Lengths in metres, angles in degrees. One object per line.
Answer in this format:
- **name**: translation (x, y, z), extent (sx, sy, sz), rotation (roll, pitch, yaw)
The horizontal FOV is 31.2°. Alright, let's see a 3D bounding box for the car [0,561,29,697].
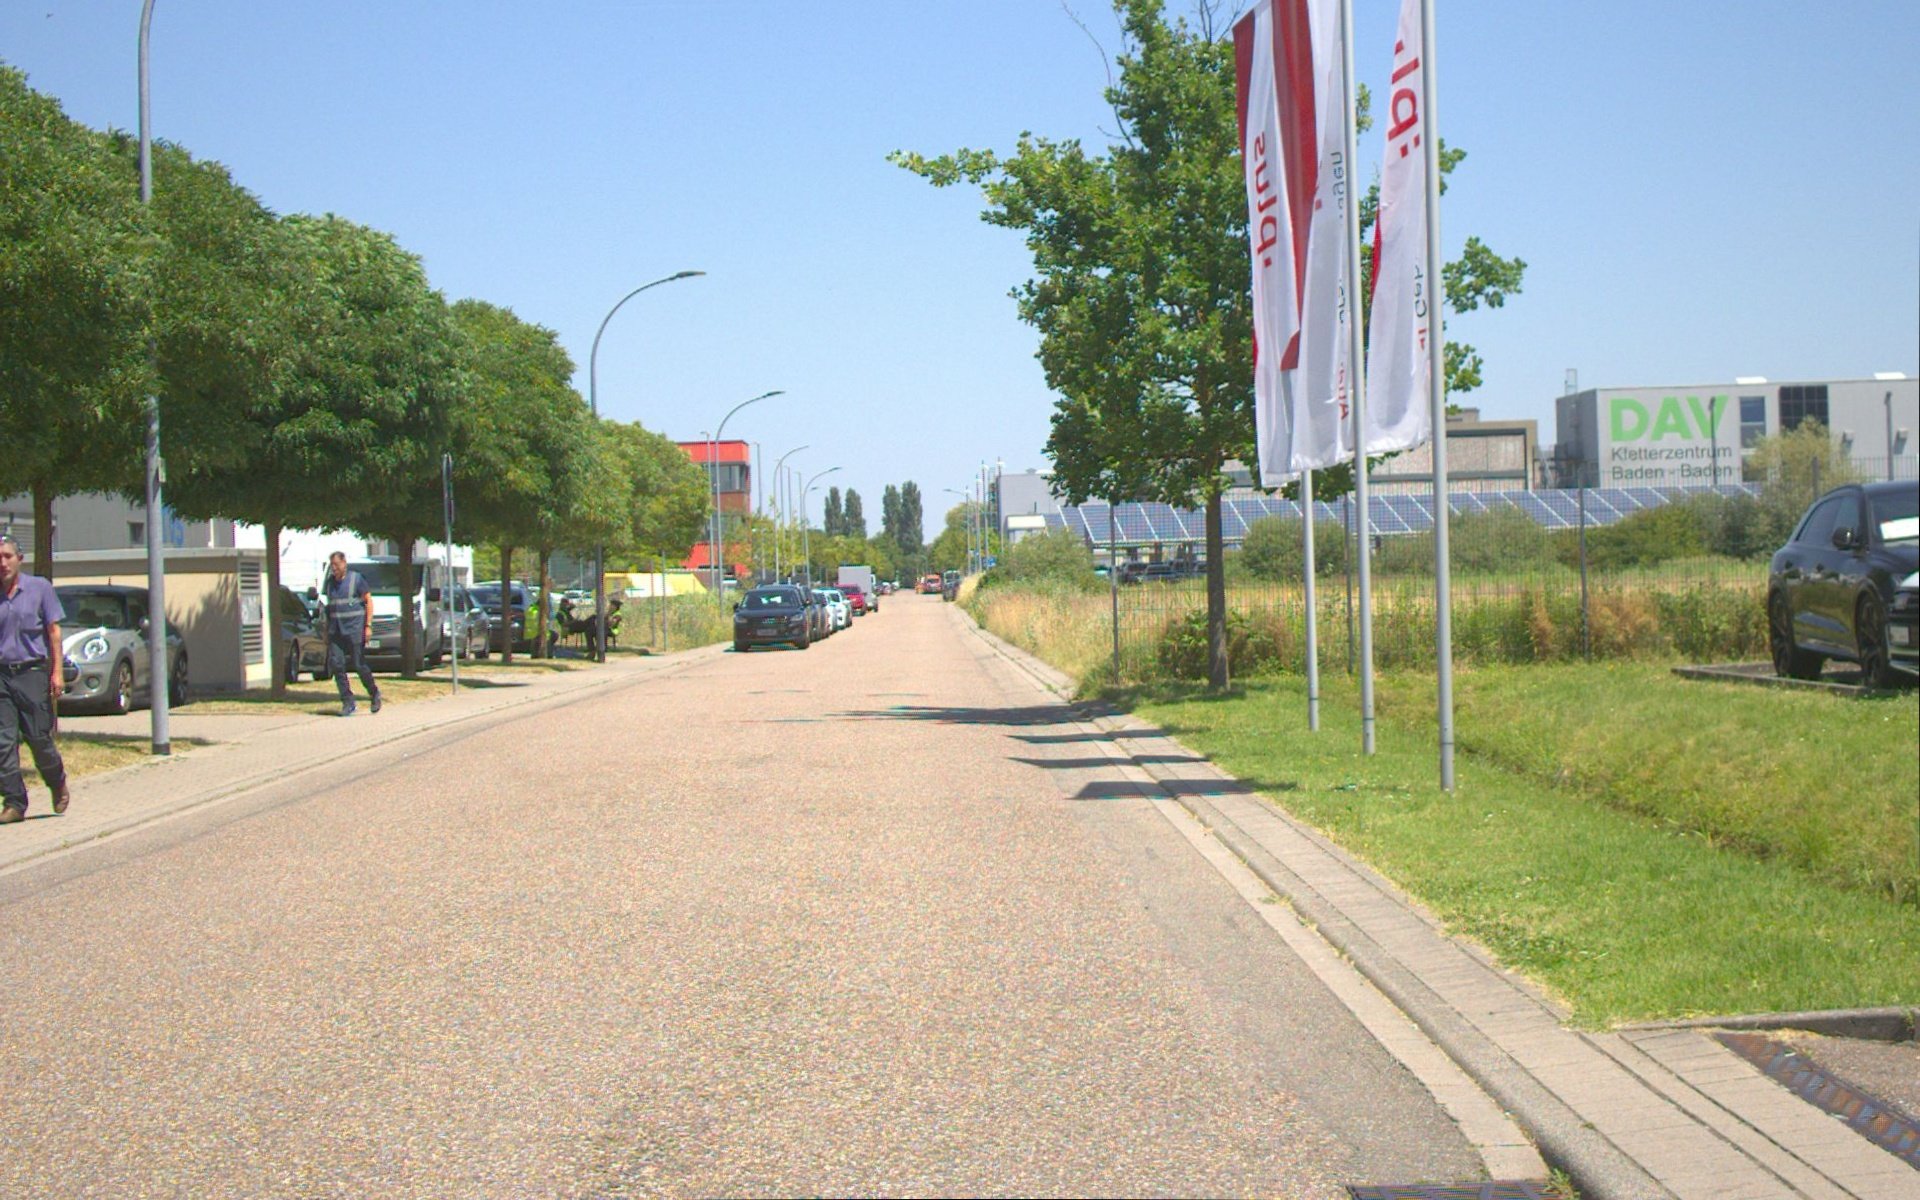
- **car**: translation (-12.293, 0.356, 39.962), extent (1.735, 1.622, 4.348), rotation (0, 0, 1)

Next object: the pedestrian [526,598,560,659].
- **pedestrian**: translation (-8.079, 0.551, 66.589), extent (0.479, 1.146, 0.555), rotation (1, -2, 10)

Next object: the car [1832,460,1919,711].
- **car**: translation (8.672, -0.225, 24.028), extent (4.528, 1.687, 2.032), rotation (-3, 0, -2)

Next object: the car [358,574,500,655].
- **car**: translation (-10.164, 0.312, 66.093), extent (1.927, 1.436, 4.841), rotation (-2, -1, 0)

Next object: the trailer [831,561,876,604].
- **trailer**: translation (-5.517, -0.893, 178.745), extent (2.201, 2.130, 4.286), rotation (-2, 0, -1)

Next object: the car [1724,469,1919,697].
- **car**: translation (7.875, -0.195, 28.274), extent (2.025, 1.687, 5.108), rotation (-3, 0, 1)

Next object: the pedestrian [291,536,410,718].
- **pedestrian**: translation (-6.685, 0.288, 37.721), extent (0.842, 1.966, 0.962), rotation (0, 0, 40)

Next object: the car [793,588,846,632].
- **car**: translation (-5.184, 0.364, 127.467), extent (1.787, 1.515, 3.983), rotation (-2, 1, -1)

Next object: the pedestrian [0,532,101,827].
- **pedestrian**: translation (-5.908, 0.479, 21.520), extent (0.744, 1.795, 1.135), rotation (0, 0, 1)

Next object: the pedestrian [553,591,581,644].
- **pedestrian**: translation (-8.946, 0.393, 78.312), extent (0.506, 1.187, 0.753), rotation (1, 0, 2)

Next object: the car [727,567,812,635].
- **car**: translation (-4.675, 0.006, 84.768), extent (1.926, 1.562, 4.190), rotation (-2, 1, -2)

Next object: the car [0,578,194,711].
- **car**: translation (-10.098, 0.471, 39.384), extent (1.765, 1.448, 3.840), rotation (0, 0, 1)

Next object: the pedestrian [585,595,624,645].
- **pedestrian**: translation (-7.950, 0.451, 76.906), extent (0.750, 1.095, 0.646), rotation (1, 0, 4)

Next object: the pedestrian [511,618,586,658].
- **pedestrian**: translation (-8.114, 0.750, 67.862), extent (1.358, 0.746, 0.753), rotation (1, 0, 2)

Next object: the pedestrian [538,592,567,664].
- **pedestrian**: translation (-9.083, 0.614, 76.690), extent (0.506, 1.590, 0.753), rotation (1, 0, 2)

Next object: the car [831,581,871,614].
- **car**: translation (-5.288, -0.127, 167.328), extent (1.787, 1.515, 3.982), rotation (-2, 0, -1)

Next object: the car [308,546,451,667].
- **car**: translation (-10.144, 0.093, 60.375), extent (1.837, 2.012, 5.126), rotation (1, 0, -3)

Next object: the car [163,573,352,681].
- **car**: translation (-10.073, 0.353, 49.623), extent (1.765, 1.448, 4.714), rotation (-1, 0, 0)
